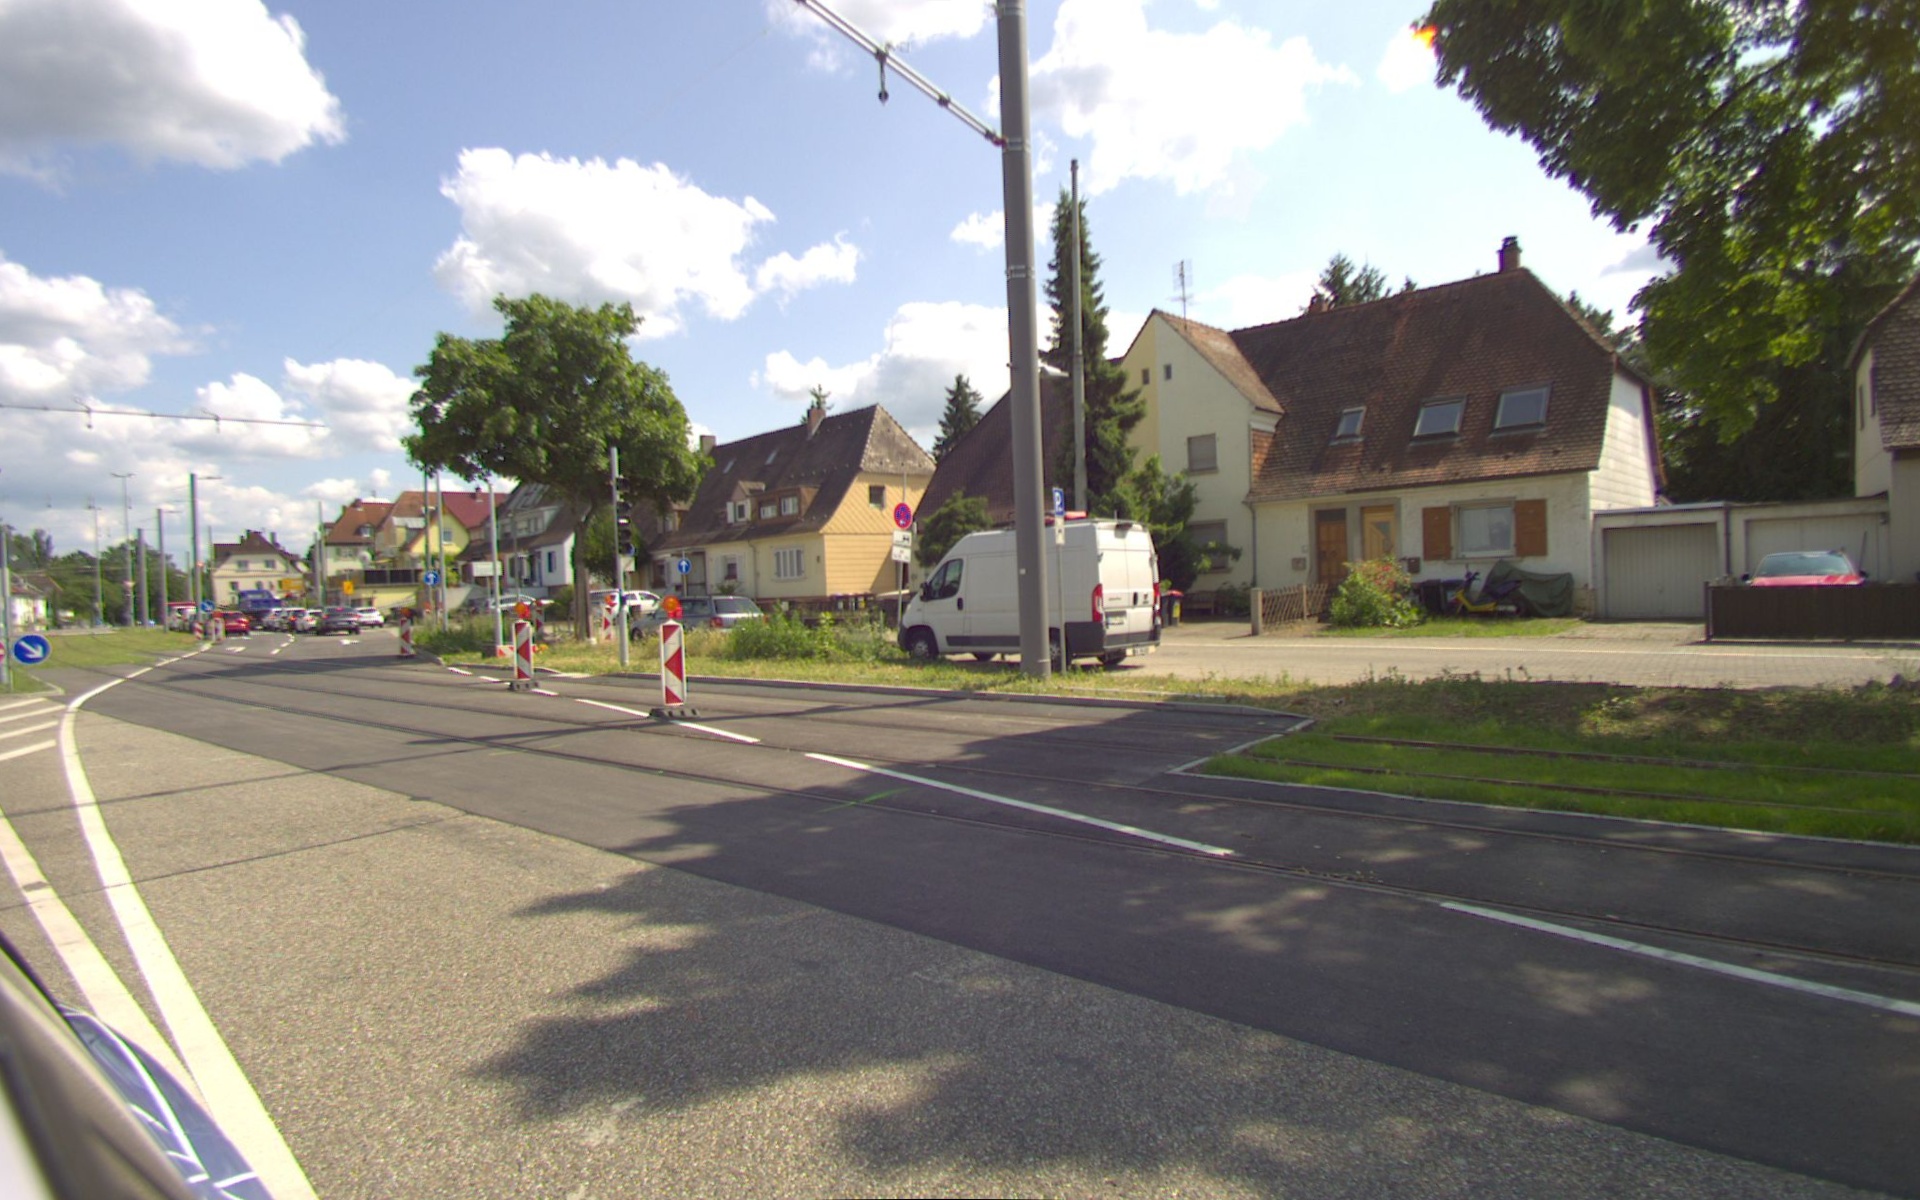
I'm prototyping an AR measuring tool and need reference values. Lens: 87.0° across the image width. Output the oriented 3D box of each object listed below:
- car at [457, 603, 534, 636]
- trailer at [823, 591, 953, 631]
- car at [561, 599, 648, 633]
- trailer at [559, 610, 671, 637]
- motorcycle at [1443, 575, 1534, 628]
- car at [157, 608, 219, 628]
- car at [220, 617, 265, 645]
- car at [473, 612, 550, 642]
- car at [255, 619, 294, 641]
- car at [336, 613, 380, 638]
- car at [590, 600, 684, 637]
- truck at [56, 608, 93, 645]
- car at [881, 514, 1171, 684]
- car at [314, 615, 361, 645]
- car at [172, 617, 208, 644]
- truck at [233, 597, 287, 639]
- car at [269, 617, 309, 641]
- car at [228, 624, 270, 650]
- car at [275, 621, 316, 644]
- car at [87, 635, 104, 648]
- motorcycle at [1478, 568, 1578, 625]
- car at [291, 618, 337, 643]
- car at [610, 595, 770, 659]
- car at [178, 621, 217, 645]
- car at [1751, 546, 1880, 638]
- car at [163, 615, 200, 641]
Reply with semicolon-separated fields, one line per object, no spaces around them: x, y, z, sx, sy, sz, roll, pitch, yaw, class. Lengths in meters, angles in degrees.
-28.900;1.186;63.077;1.803;1.859;3.943;-2;0;44;car
-2.875;0.428;41.399;5.195;1.404;2.025;-2;0;-44;trailer
-18.253;0.818;52.077;3.837;1.556;1.709;-2;0;-42;car
-16.969;1.140;49.922;1.961;1.133;4.867;-2;0;43;trailer
12.284;0.041;23.564;1.791;1.178;0.491;-2;0;39;motorcycle
-84.148;1.930;110.323;4.912;1.886;2.288;-2;0;-2;car
-43.675;1.885;61.541;1.704;1.574;4.547;-2;0;-42;car
-26.946;1.600;60.828;1.682;1.567;3.835;-2;0;44;car
-51.473;2.258;75.942;1.705;1.574;4.546;-2;0;-43;car
-40.894;1.767;68.708;1.704;1.574;4.547;-2;0;-42;car
-15.274;0.876;47.971;1.759;1.556;3.911;-2;0;39;car
-136.178;4.064;155.772;3.423;5.222;14.246;-2;0;-38;truck
1.082;0.015;18.378;4.913;2.688;2.131;-2;0;41;car
-33.835;1.615;54.937;1.703;1.538;4.781;-2;0;-37;car
-58.433;2.319;76.797;1.705;1.868;4.546;-2;0;-43;car
-56.869;1.450;82.124;2.800;3.178;7.946;-2;0;-40;truck
-47.246;2.061;71.219;1.704;1.574;4.547;-2;0;-42;car
-46.718;2.388;66.439;1.704;1.574;4.650;-2;0;-42;car
-43.156;2.118;65.677;1.704;1.345;4.549;-2;0;-40;car
-145.469;6.934;170.287;2.029;2.023;4.958;-2;0;-39;car
13.301;-0.075;23.769;1.992;1.282;0.573;-2;0;28;motorcycle
-38.510;1.816;60.282;1.704;1.345;4.549;-2;0;-40;car
-6.995;0.692;25.928;4.755;1.476;1.674;-2;0;43;car
-53.949;2.326;71.584;1.705;1.574;4.546;-2;0;-43;car
15.904;-0.162;18.914;1.669;1.533;3.581;-2;0;39;car
-63.316;2.263;82.261;1.895;1.979;4.546;-2;0;-43;car
